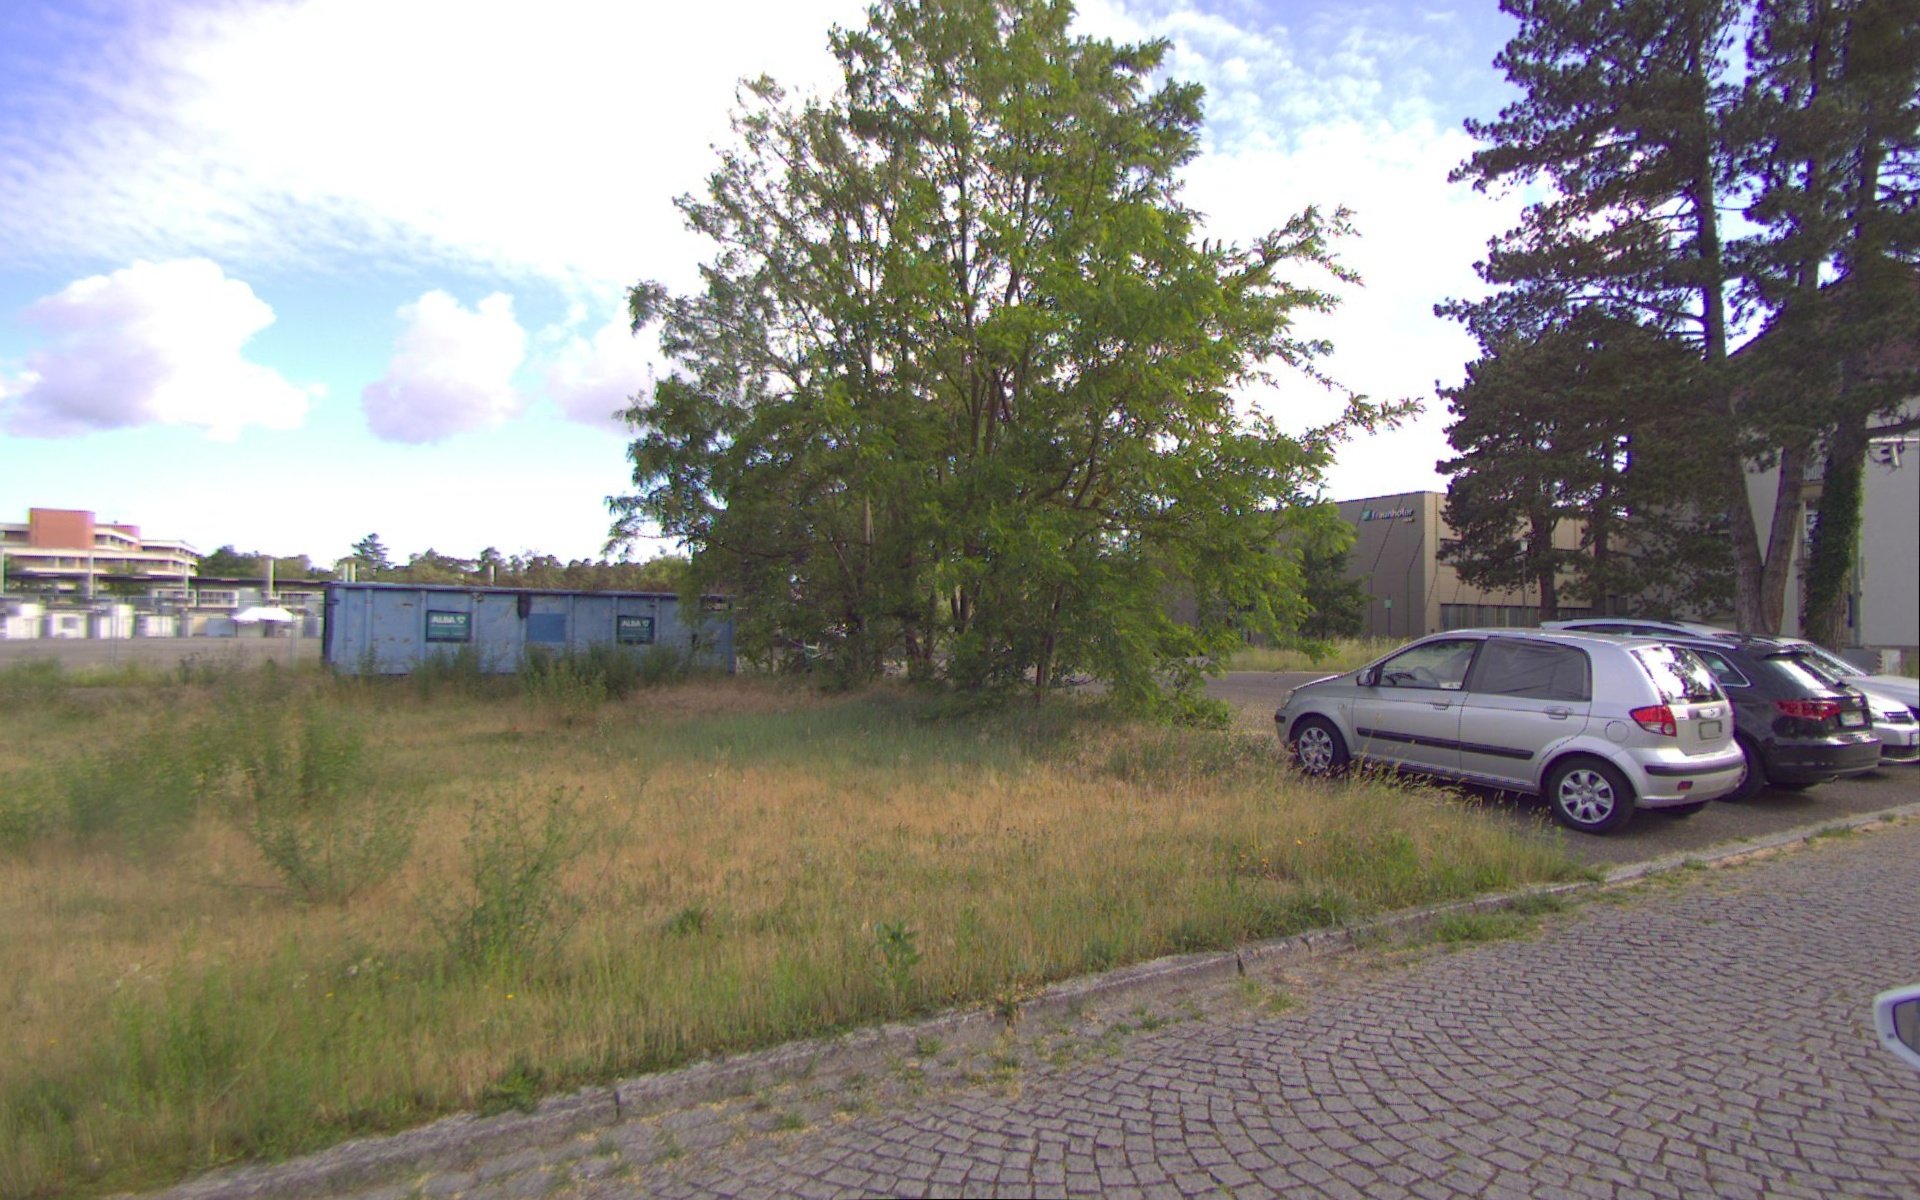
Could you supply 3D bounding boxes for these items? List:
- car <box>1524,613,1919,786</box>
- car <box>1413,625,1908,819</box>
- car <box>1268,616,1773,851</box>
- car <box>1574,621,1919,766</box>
[{"bbox_3d":[9.223,1.035,12.165,1.717,1.628,3.809,1,1,-33],"label":"car"},{"bbox_3d":[6.913,1.059,10.344,1.676,1.427,3.816,1,1,-31],"label":"car"},{"bbox_3d":[4.714,0.968,8.927,1.629,1.495,3.556,1,1,-32],"label":"car"},{"bbox_3d":[11.103,1.152,13.532,1.811,1.461,4.450,1,2,-33],"label":"car"}]
